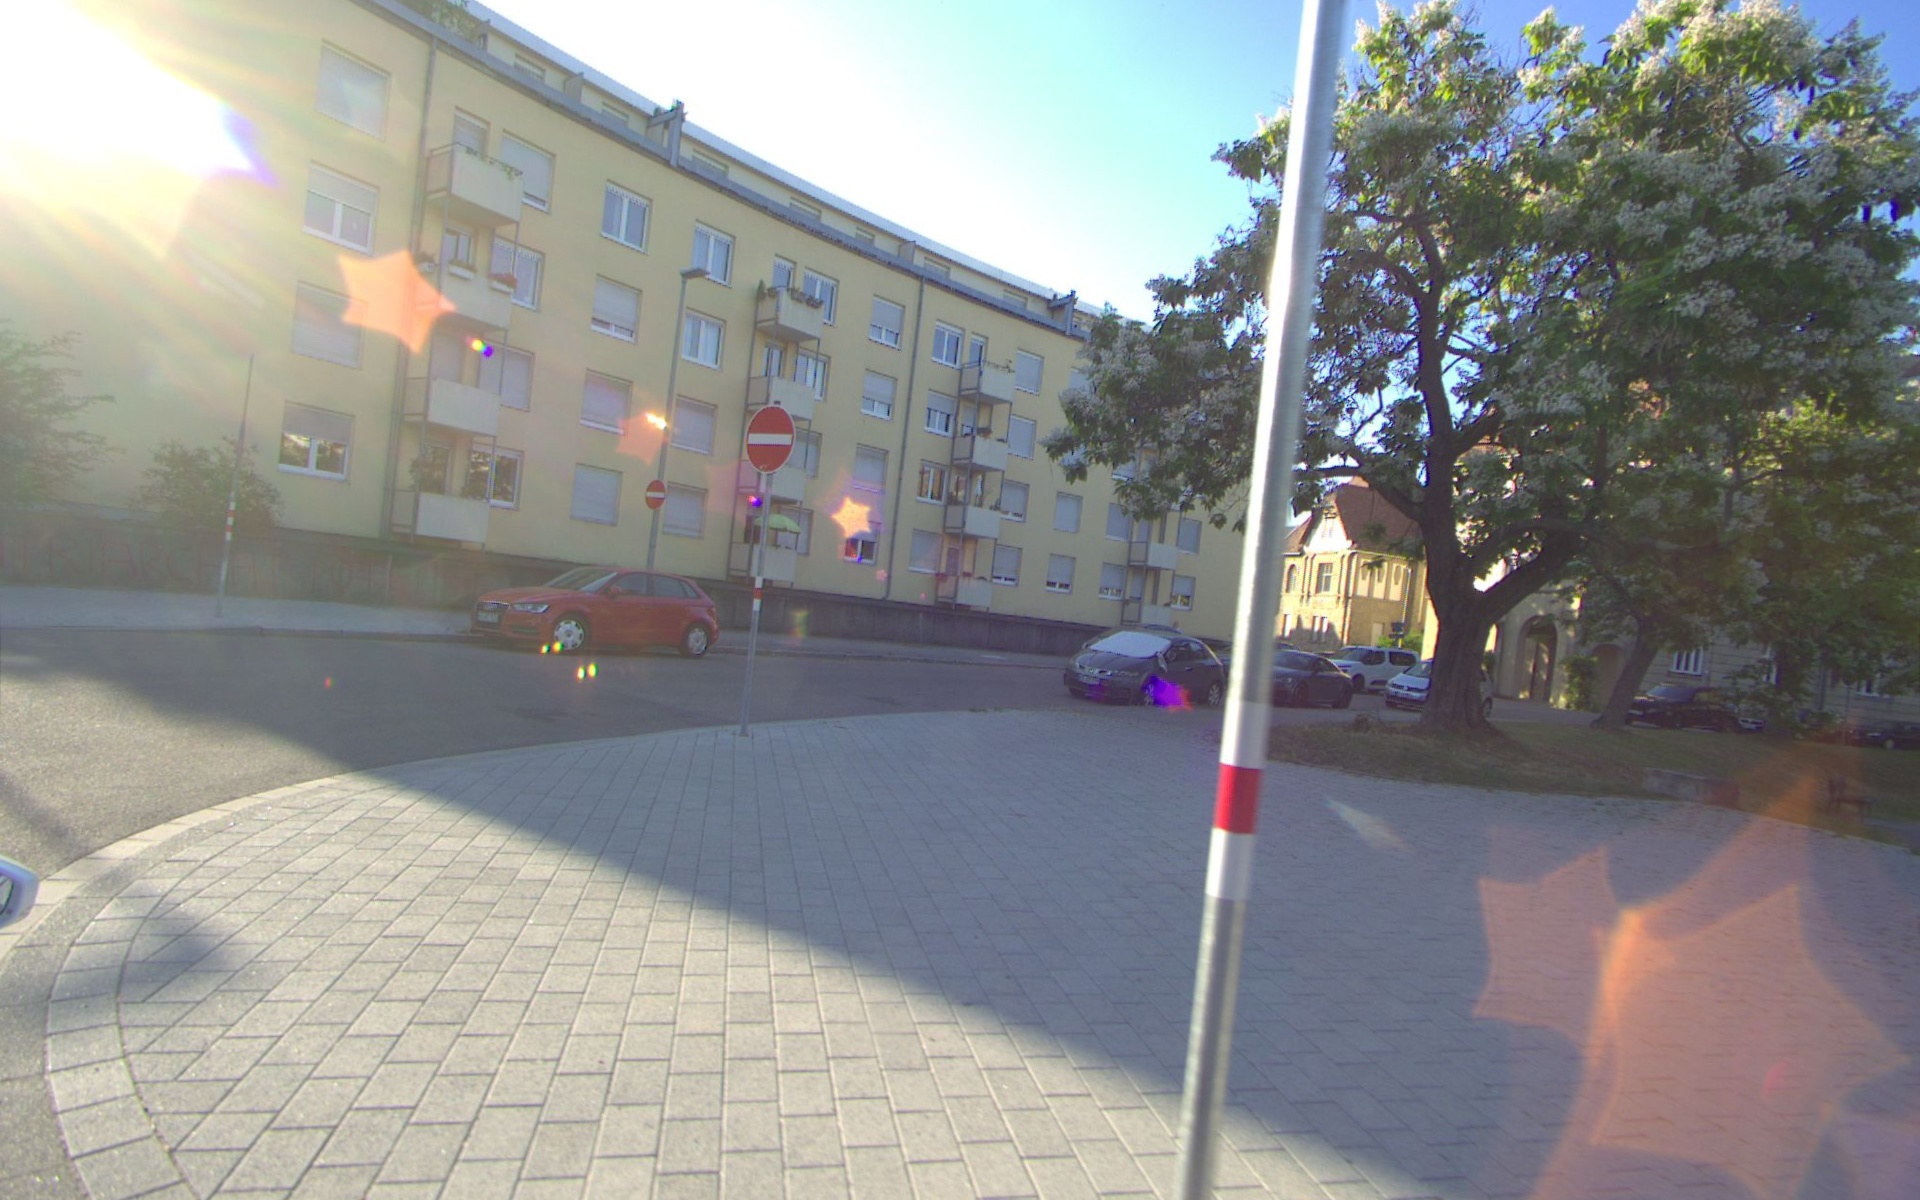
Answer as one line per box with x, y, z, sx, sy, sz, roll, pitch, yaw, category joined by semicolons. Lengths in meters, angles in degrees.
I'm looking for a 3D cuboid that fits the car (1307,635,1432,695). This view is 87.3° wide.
15.494;2.466;38.038;4.473;1.768;1.866;6;1;-29;car

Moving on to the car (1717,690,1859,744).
32.078;4.529;39.015;4.295;1.471;1.876;6;1;-12;car

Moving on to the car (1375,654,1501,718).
14.253;2.576;29.913;3.964;1.572;1.594;6;1;-36;car

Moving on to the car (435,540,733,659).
-6.009;0.066;16.576;1.966;1.550;4.199;7;0;30;car

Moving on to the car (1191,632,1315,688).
9.937;2.049;34.044;3.962;1.471;1.862;6;1;-36;car

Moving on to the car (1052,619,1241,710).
3.804;1.309;20.046;1.669;1.481;4.187;7;1;42;car

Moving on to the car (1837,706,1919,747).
43.880;5.995;47.033;3.925;1.471;1.880;6;1;0;car

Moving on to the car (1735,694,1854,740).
38.535;5.401;46.488;3.928;1.471;1.878;6;1;-5;car

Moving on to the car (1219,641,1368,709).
8.418;1.917;25.229;4.180;1.375;1.672;6;1;-43;car

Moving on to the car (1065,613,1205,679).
5.424;1.437;30.735;1.856;1.589;4.498;7;1;45;car

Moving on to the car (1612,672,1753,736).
26.284;3.773;36.622;4.461;1.768;1.872;6;1;-20;car
